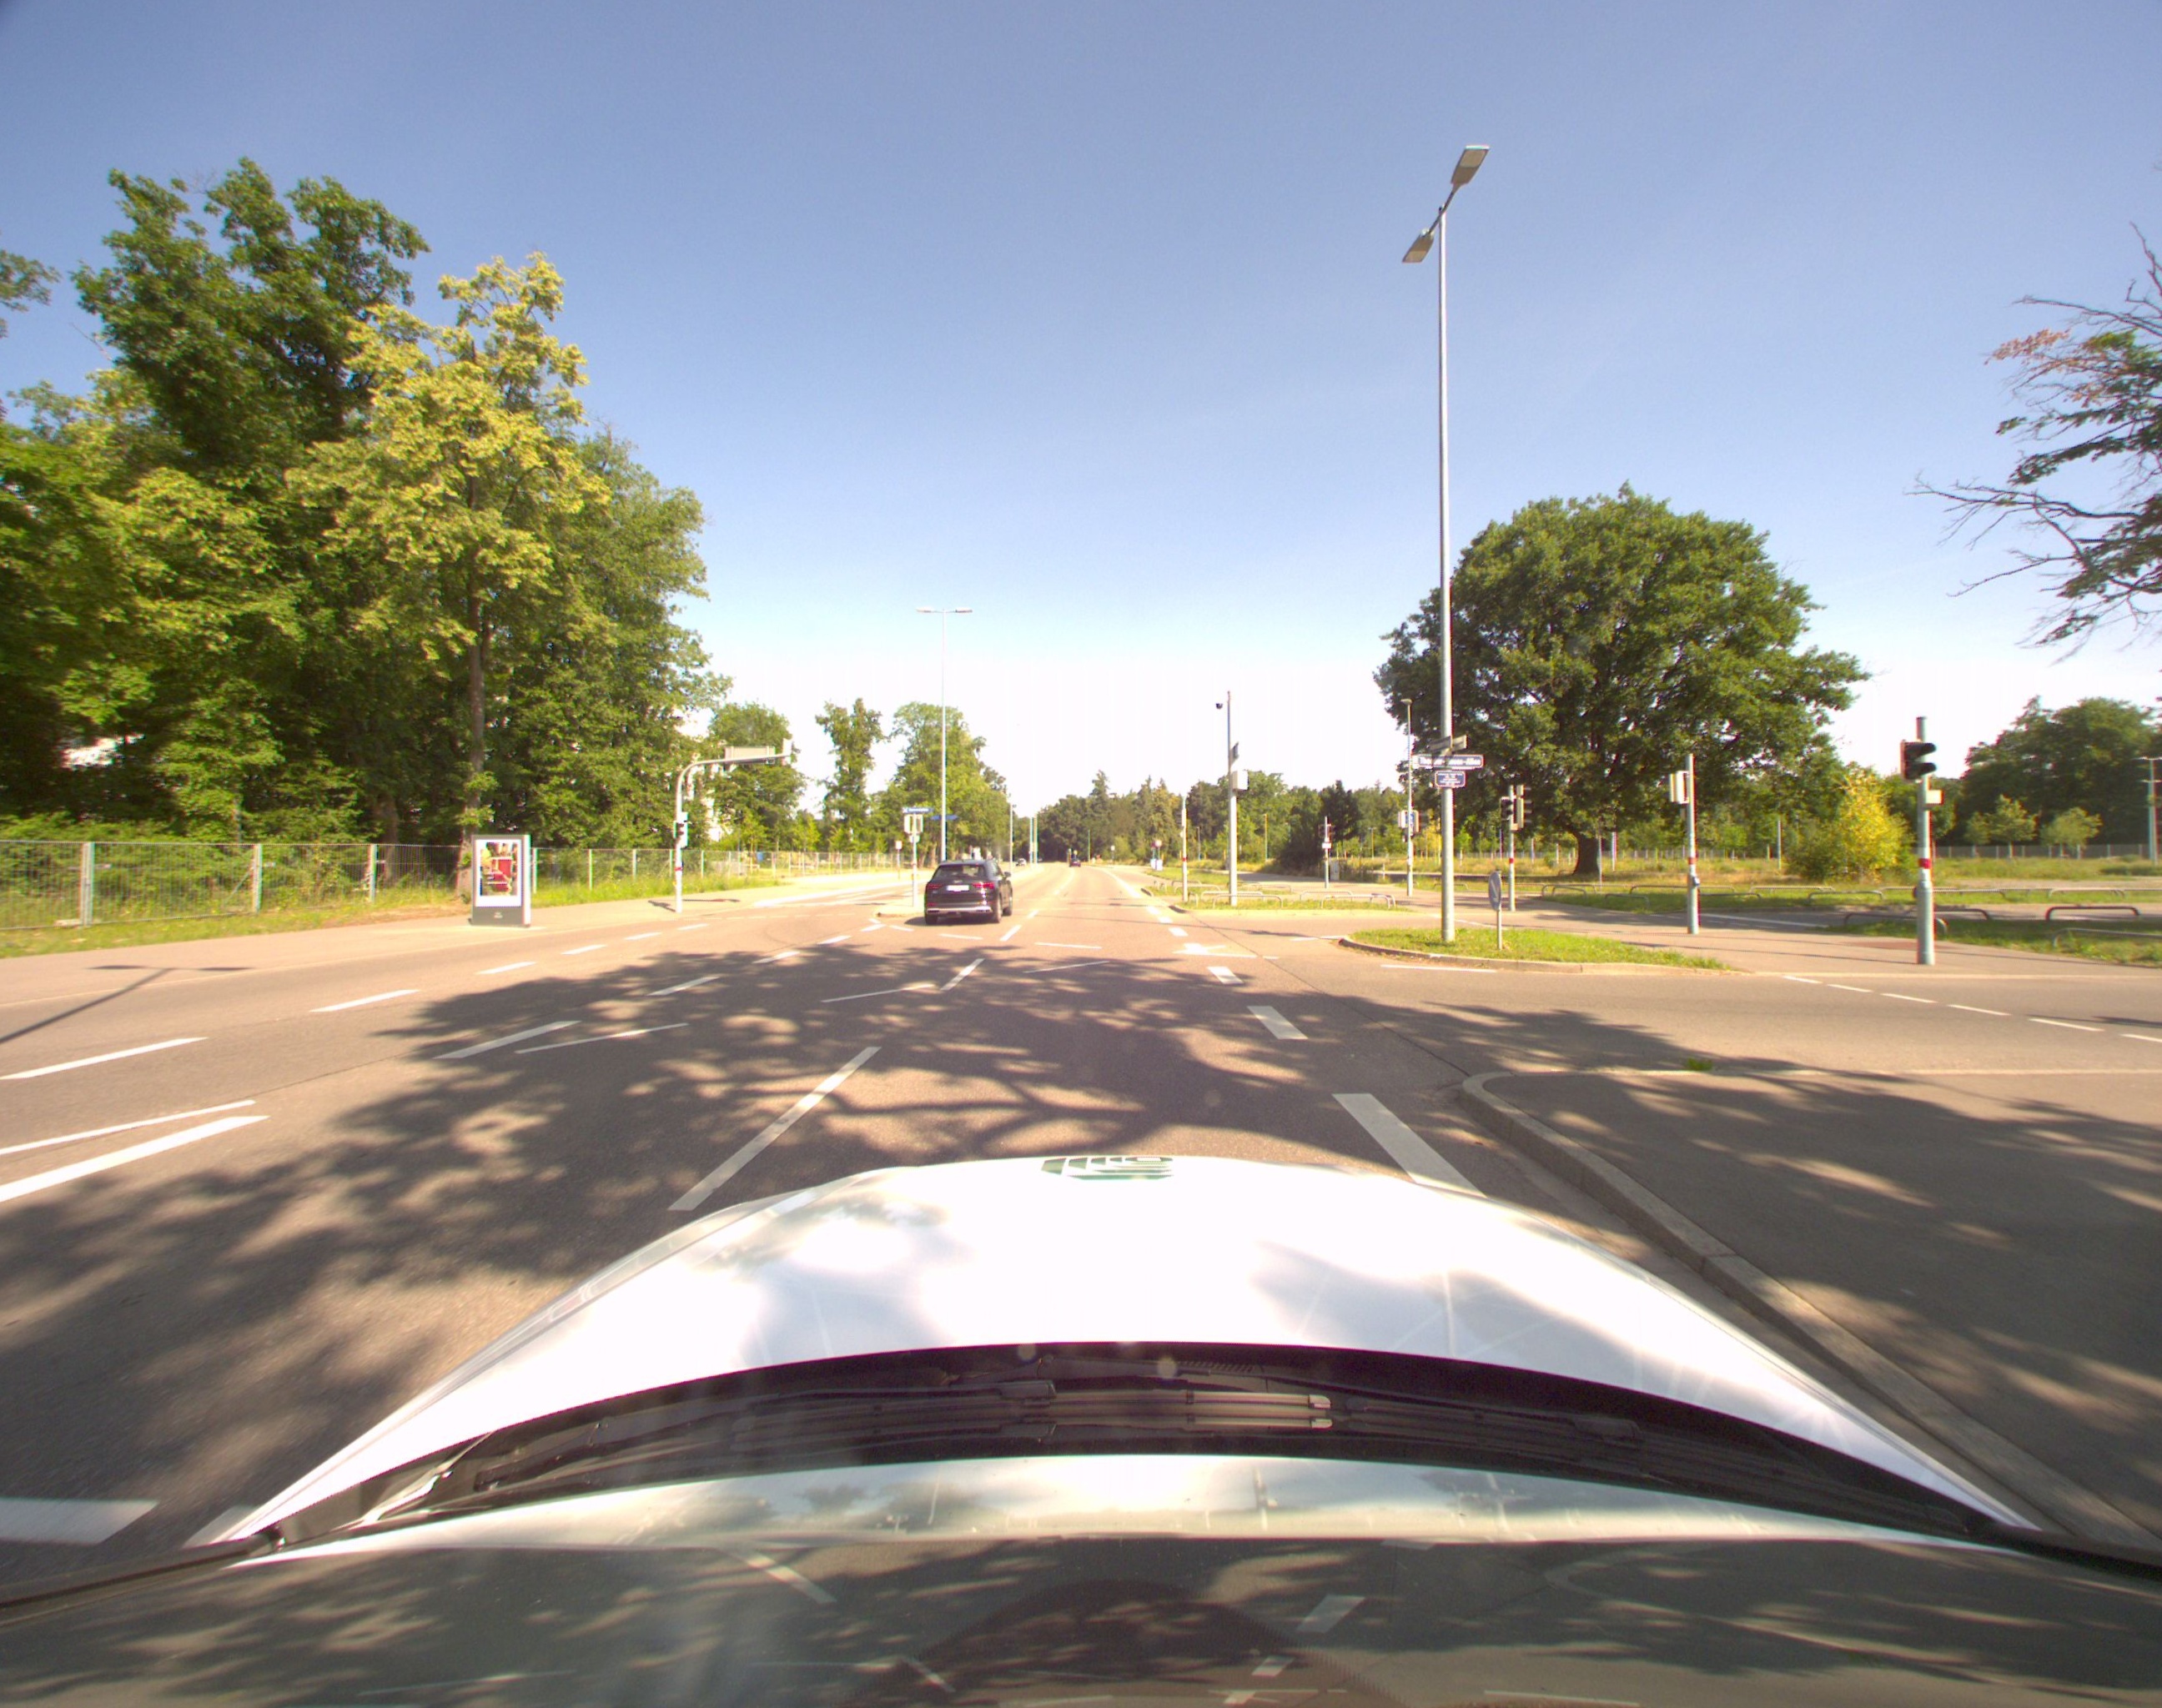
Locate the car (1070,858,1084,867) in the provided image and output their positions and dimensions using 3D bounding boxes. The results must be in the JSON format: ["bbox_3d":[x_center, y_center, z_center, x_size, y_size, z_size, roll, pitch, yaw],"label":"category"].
[{"bbox_3d":[-0.648,1.346,131.550,1.937,1.420,4.285,0,0,-5],"label":"car"}]

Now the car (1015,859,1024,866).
[{"bbox_3d":[-13.007,1.753,172.184,1.809,1.388,4.151,-3,0,-7],"label":"car"}]

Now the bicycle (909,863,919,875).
[{"bbox_3d":[-17.401,1.554,84.945,0.658,1.136,1.878,1,0,-1],"label":"bicycle"}]

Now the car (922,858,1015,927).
[{"bbox_3d":[-2.759,0.904,20.847,1.682,1.544,4.149,-1,0,1],"label":"car"}]
